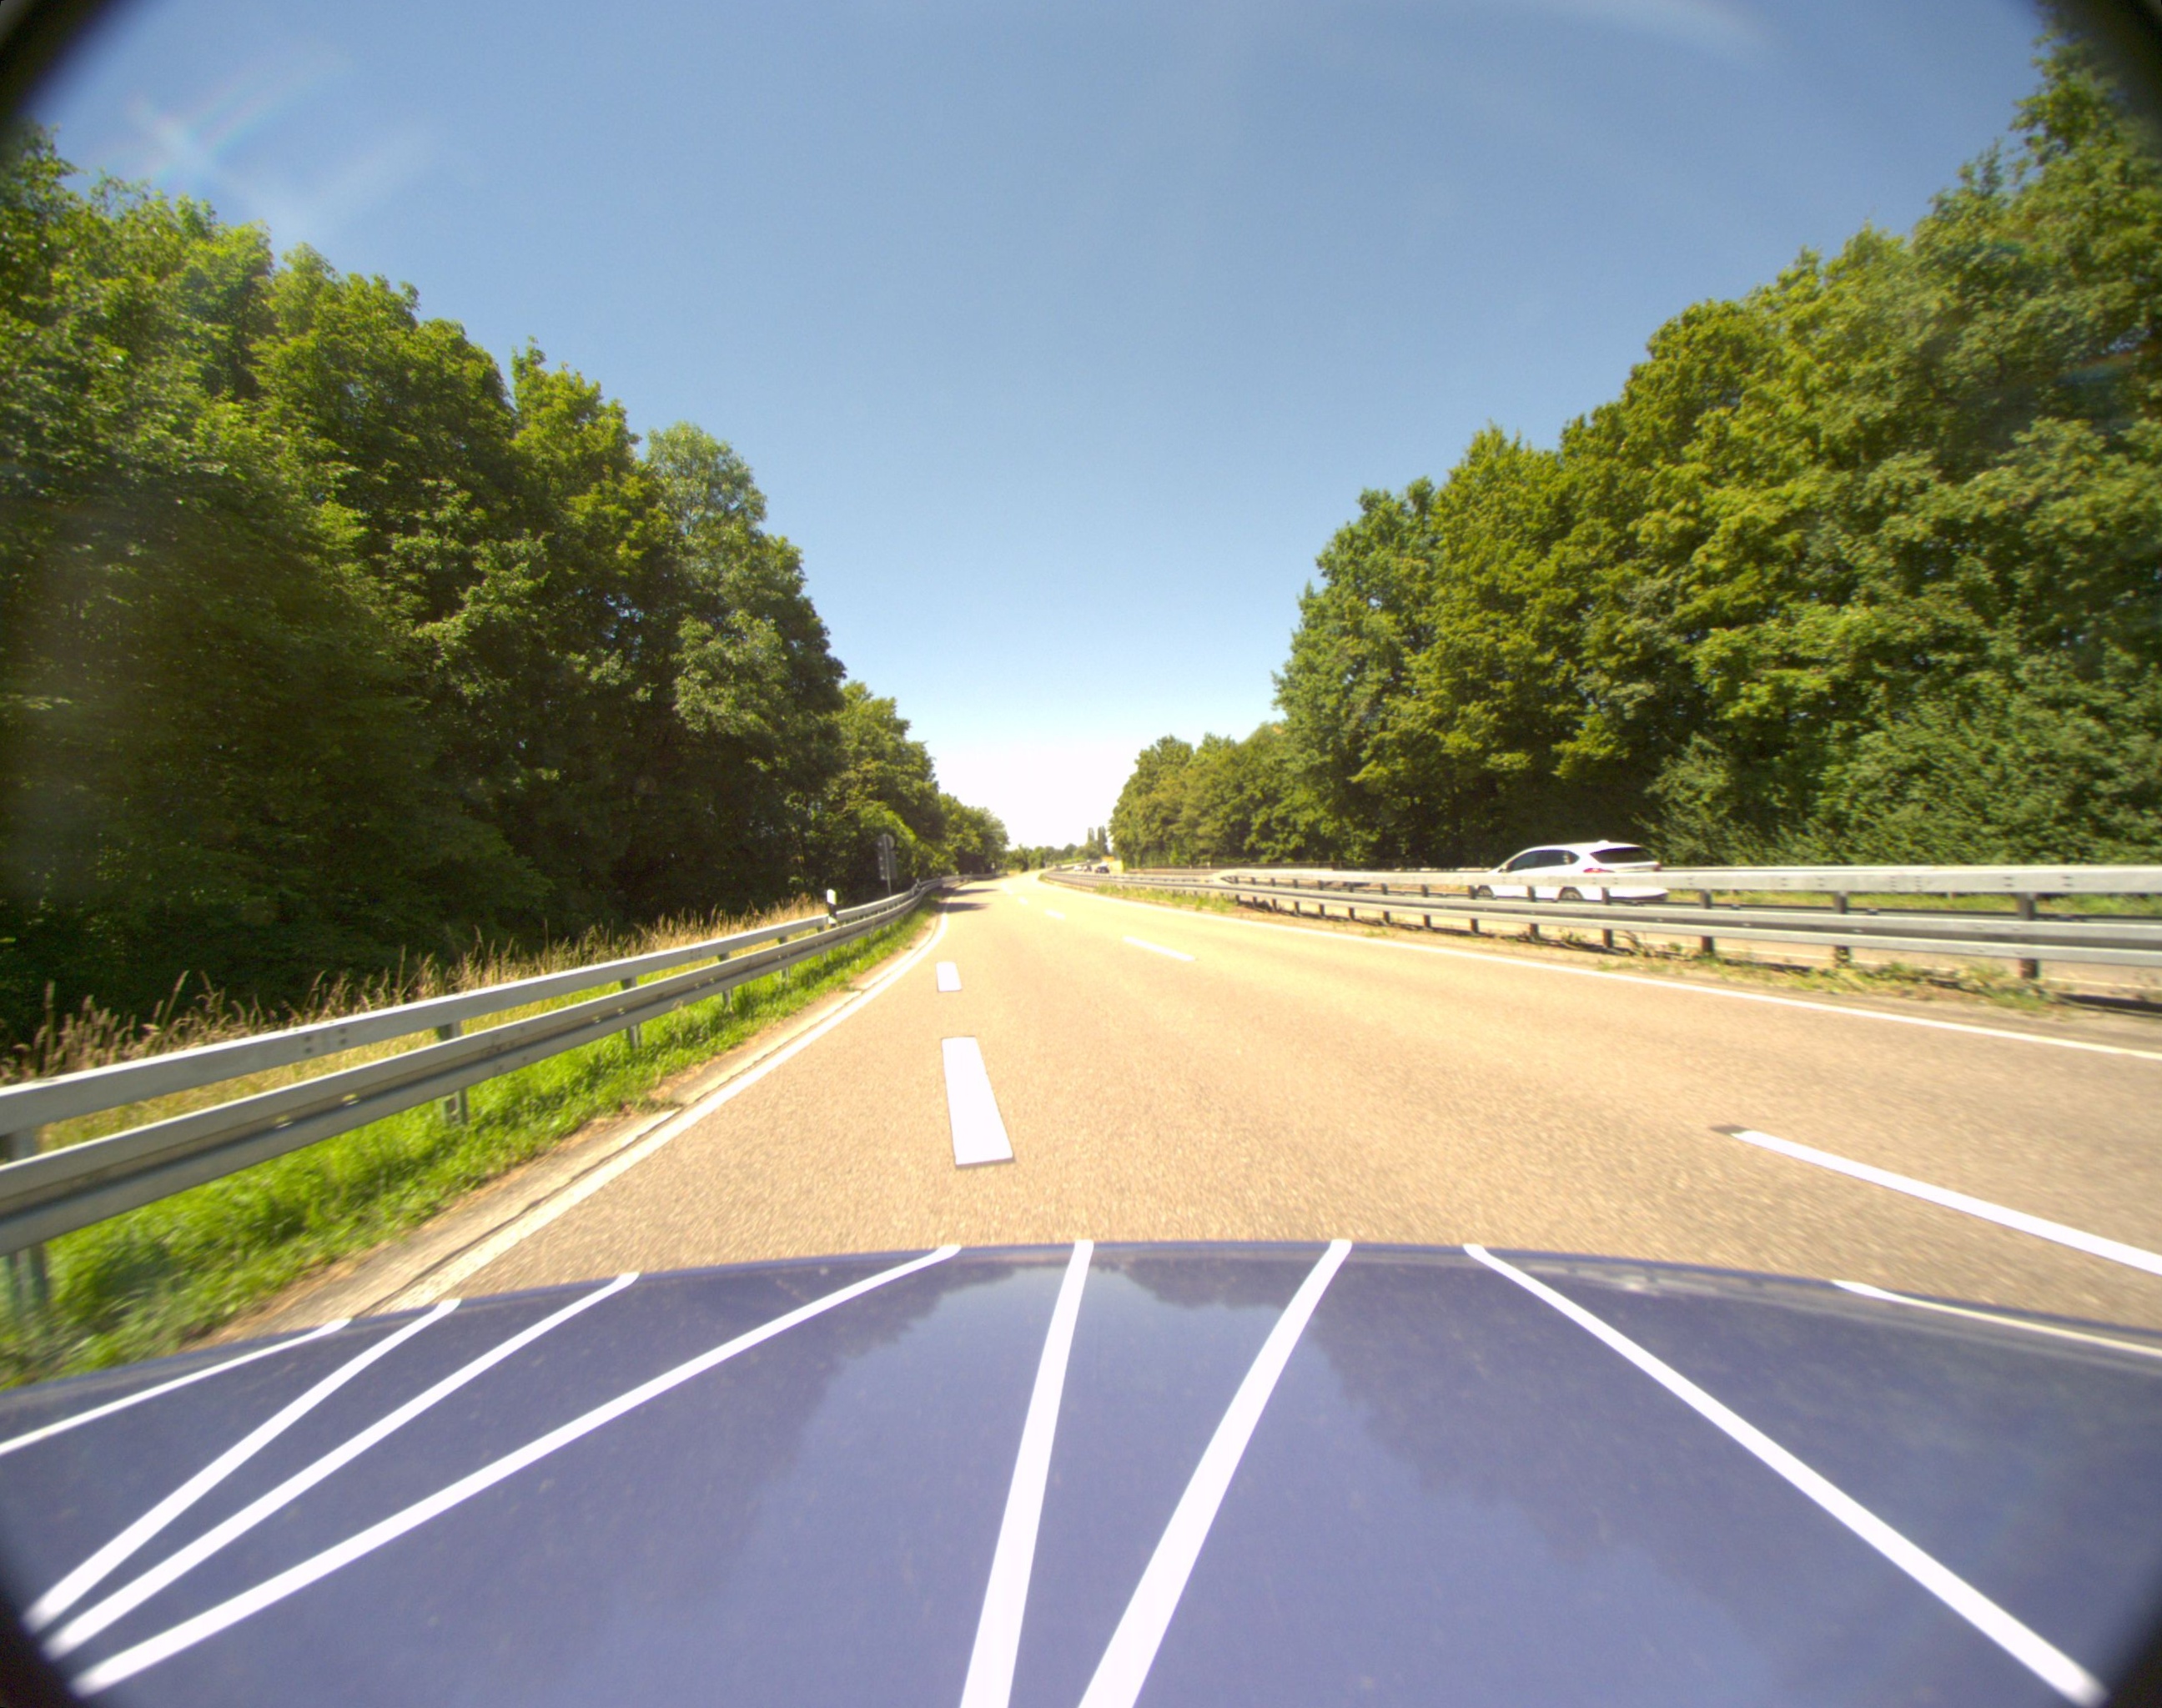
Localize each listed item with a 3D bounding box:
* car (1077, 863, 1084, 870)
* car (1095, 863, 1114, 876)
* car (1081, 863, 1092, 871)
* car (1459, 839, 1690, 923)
[{"bbox_3d":[-0.135,3.155,185.353,1.655,1.597,4.219,-3,-1,-2],"label":"car"},{"bbox_3d":[3.021,2.007,98.995,1.761,1.519,4.682,-3,-1,-7],"label":"car"},{"bbox_3d":[1.120,2.726,158.891,1.656,1.519,3.996,-3,-1,-7],"label":"car"},{"bbox_3d":[10.812,0.561,17.124,1.761,1.563,4.410,-3,-1,-11],"label":"car"}]
